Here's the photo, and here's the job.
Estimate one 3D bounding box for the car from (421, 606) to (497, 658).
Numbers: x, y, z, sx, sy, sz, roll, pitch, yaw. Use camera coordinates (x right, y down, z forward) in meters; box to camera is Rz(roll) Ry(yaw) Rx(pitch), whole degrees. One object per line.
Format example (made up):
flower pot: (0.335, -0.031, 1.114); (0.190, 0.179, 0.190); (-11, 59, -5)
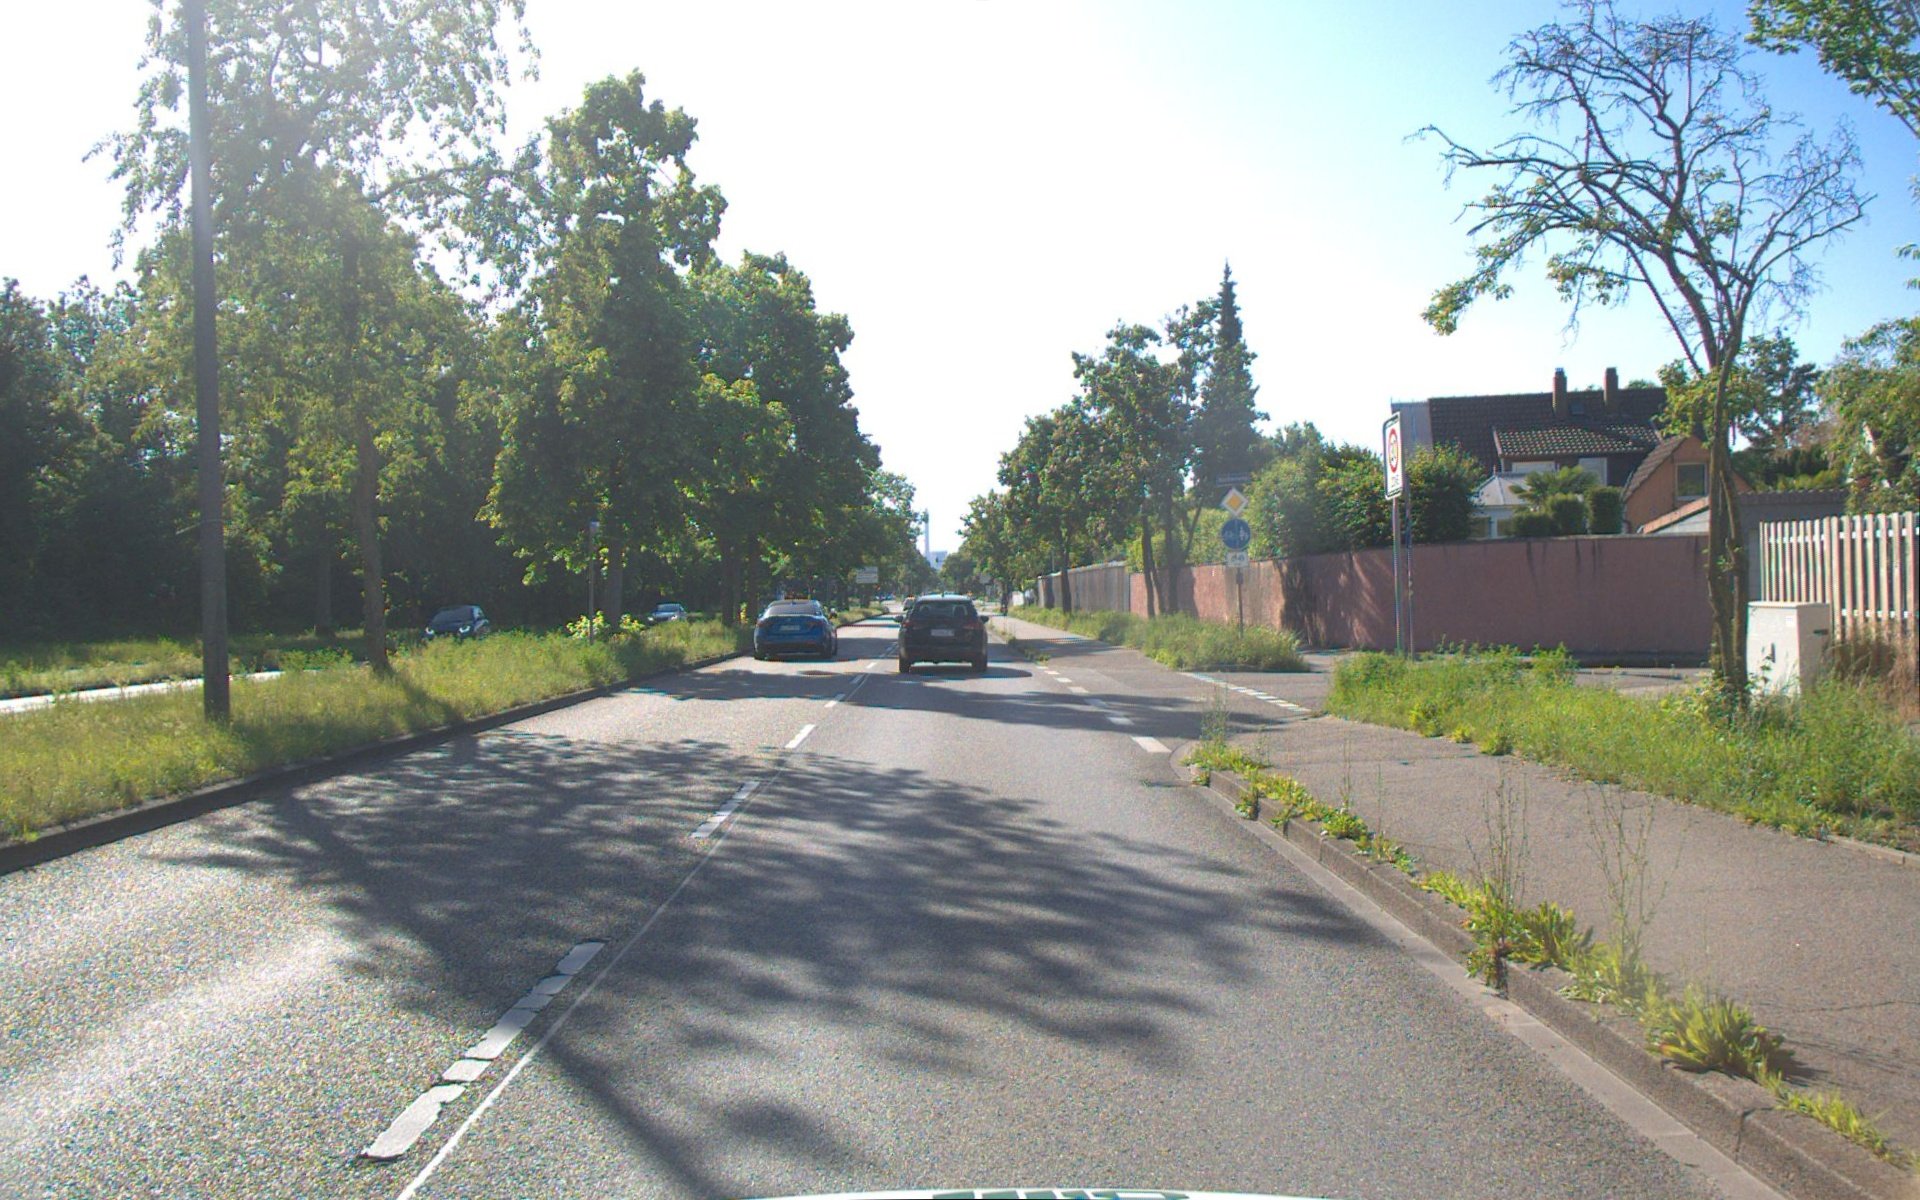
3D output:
car: (-16.497, 1.022, 54.590); (1.681, 1.531, 3.014); (-3, 1, -4)

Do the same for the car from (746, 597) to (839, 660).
car: (-4.094, 0.669, 40.981); (1.954, 1.429, 3.999); (-1, 0, -1)

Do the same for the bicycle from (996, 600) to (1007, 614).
bicycle: (2.666, 0.462, 106.768); (0.642, 0.908, 1.874); (-1, 0, -1)

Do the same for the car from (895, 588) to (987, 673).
car: (-0.341, 0.575, 33.246); (1.724, 1.586, 4.000); (1, 0, 0)

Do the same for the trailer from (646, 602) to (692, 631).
trailer: (-16.310, 0.898, 92.864); (1.705, 1.449, 4.496); (-3, 0, 0)

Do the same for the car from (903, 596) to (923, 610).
car: (-5.261, 0.371, 185.005); (1.939, 1.465, 3.997); (-1, 1, -4)

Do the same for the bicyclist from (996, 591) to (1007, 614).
bicyclist: (2.658, 0.168, 106.758); (0.666, 1.443, 0.812); (-1, 0, -1)
